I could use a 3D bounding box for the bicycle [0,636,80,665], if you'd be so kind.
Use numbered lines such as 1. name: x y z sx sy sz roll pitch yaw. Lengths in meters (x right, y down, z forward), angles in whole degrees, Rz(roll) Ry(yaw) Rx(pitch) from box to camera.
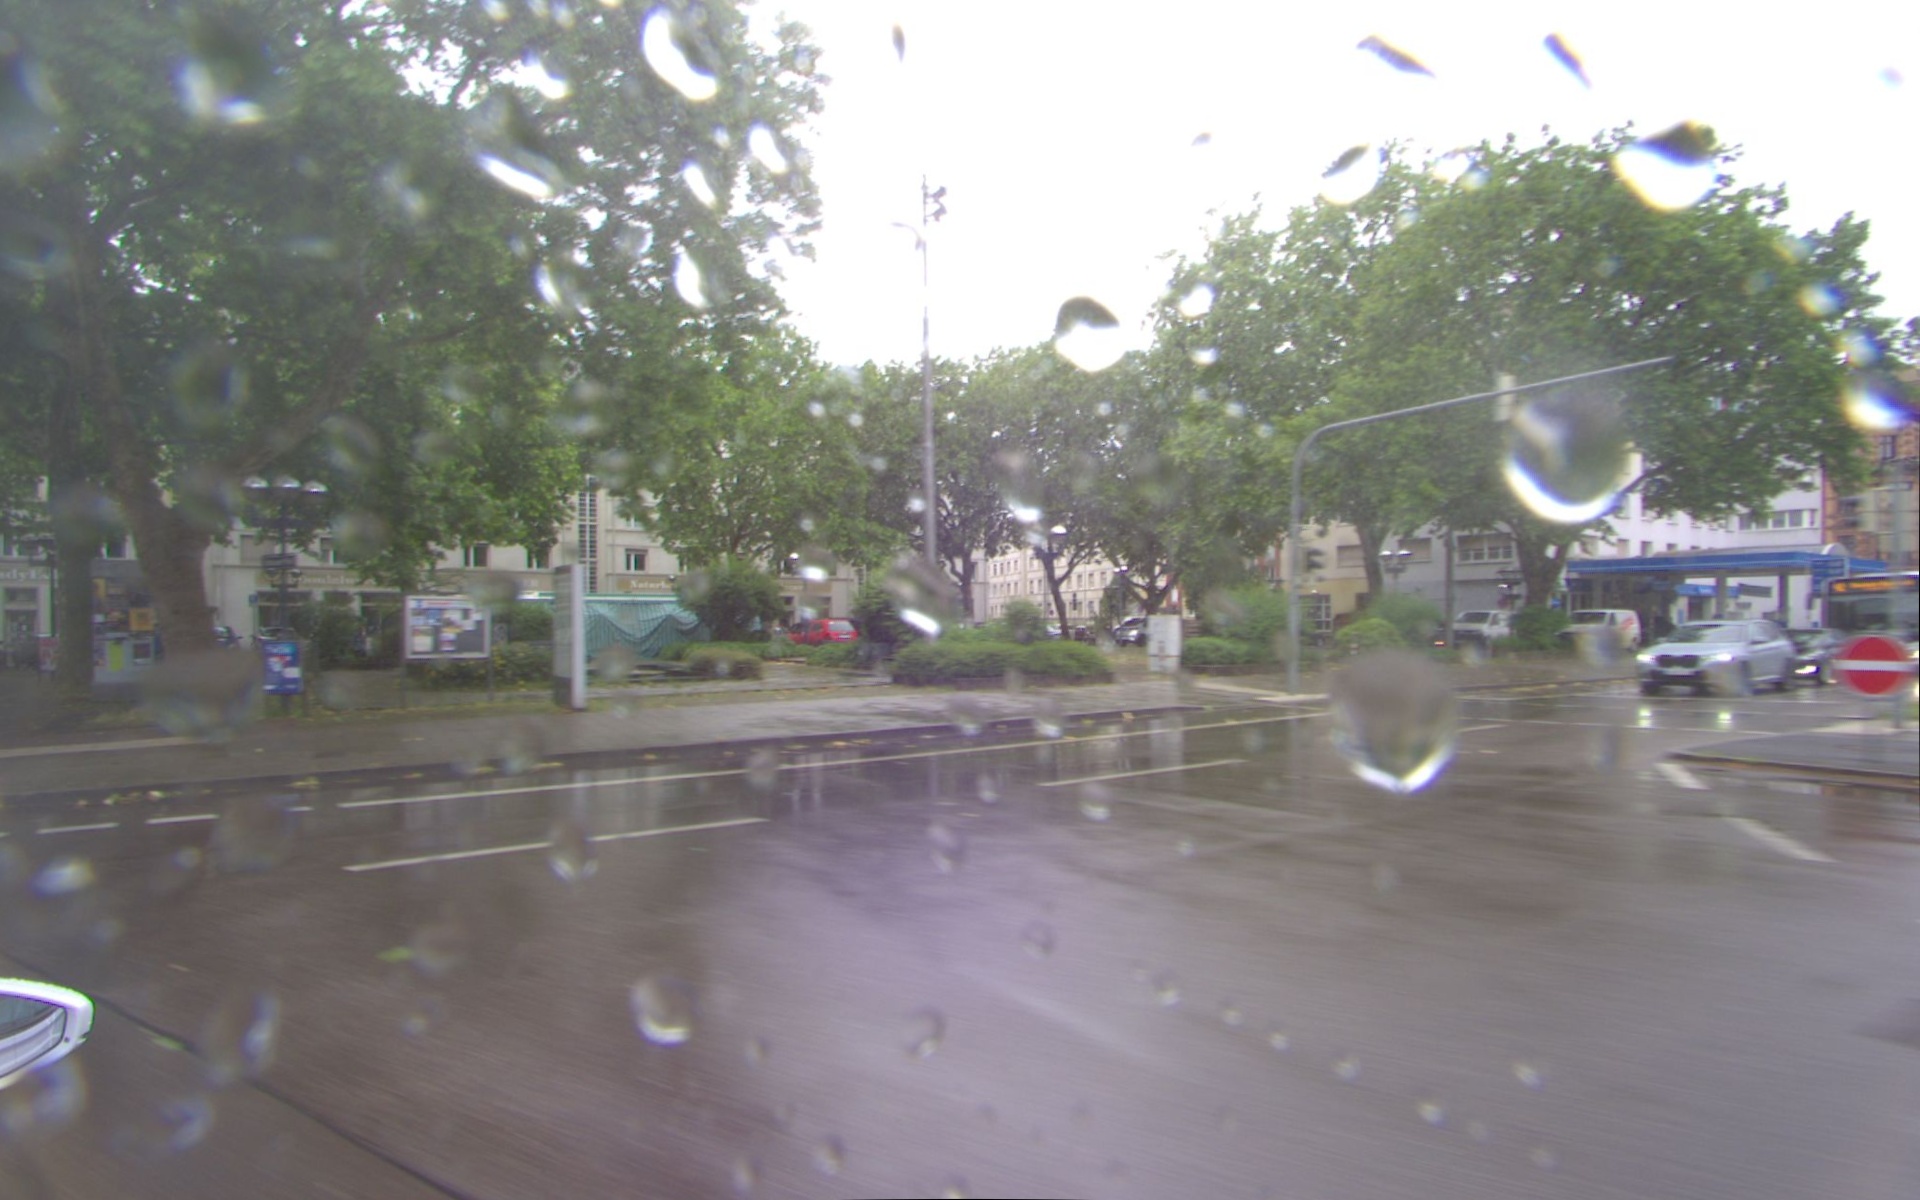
1. bicycle: -34.297 1.875 37.254 2.260 0.996 0.542 0 0 -35

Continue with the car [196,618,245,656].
1. car: -32.654 1.606 44.189 1.665 1.595 3.709 0 -2 -37

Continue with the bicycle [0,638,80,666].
1. bicycle: -34.701 1.943 37.744 2.230 0.981 0.531 0 0 -35

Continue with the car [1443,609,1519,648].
1. car: 25.326 1.348 48.625 4.211 1.802 1.725 0 0 -38

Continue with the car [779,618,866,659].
1. car: -5.505 1.510 39.940 1.651 1.541 3.644 0 -1 -43

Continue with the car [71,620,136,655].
1. car: -43.051 1.875 50.424 1.976 1.648 4.599 3 -3 -35

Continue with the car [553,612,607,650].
1. car: -19.676 1.629 51.726 1.815 1.861 3.978 0 -3 -33

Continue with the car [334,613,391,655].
1. car: -28.197 1.619 47.210 2.133 1.861 3.978 0 -3 -33

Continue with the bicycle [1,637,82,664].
1. bicycle: -35.089 1.920 38.289 2.225 0.981 0.581 0 0 -35

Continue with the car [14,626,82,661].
1. car: -37.149 1.797 40.866 1.567 1.353 3.243 0 -3 -34

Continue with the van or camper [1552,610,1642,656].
1. van or camper: 28.106 1.408 44.148 4.616 1.940 1.984 0 0 -38

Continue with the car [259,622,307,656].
1. car: -31.039 1.815 45.994 1.662 1.449 3.717 0 -3 -32

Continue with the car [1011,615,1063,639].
1. car: 5.470 1.941 71.728 1.693 1.638 3.977 1 -2 -32

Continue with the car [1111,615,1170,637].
1. car: 12.502 1.788 69.226 3.946 1.471 1.667 0 -1 -33

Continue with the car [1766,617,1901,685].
1. car: 22.878 1.271 26.194 4.126 1.621 1.766 1 0 -36

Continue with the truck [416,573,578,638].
1. truck: -20.795 0.287 45.156 6.323 2.734 2.251 0 -1 -37

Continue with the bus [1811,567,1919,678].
1. bus: 31.450 0.702 32.665 11.951 3.154 2.873 1 0 -36

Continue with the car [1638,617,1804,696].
1. car: 17.375 1.198 22.801 4.498 1.621 1.779 1 0 -36

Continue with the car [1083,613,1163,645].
1. car: 8.826 1.564 54.424 1.977 1.639 3.968 0 -1 -39

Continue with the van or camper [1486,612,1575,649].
1. van or camper: 26.205 1.345 45.950 4.616 1.620 1.984 0 0 -38
